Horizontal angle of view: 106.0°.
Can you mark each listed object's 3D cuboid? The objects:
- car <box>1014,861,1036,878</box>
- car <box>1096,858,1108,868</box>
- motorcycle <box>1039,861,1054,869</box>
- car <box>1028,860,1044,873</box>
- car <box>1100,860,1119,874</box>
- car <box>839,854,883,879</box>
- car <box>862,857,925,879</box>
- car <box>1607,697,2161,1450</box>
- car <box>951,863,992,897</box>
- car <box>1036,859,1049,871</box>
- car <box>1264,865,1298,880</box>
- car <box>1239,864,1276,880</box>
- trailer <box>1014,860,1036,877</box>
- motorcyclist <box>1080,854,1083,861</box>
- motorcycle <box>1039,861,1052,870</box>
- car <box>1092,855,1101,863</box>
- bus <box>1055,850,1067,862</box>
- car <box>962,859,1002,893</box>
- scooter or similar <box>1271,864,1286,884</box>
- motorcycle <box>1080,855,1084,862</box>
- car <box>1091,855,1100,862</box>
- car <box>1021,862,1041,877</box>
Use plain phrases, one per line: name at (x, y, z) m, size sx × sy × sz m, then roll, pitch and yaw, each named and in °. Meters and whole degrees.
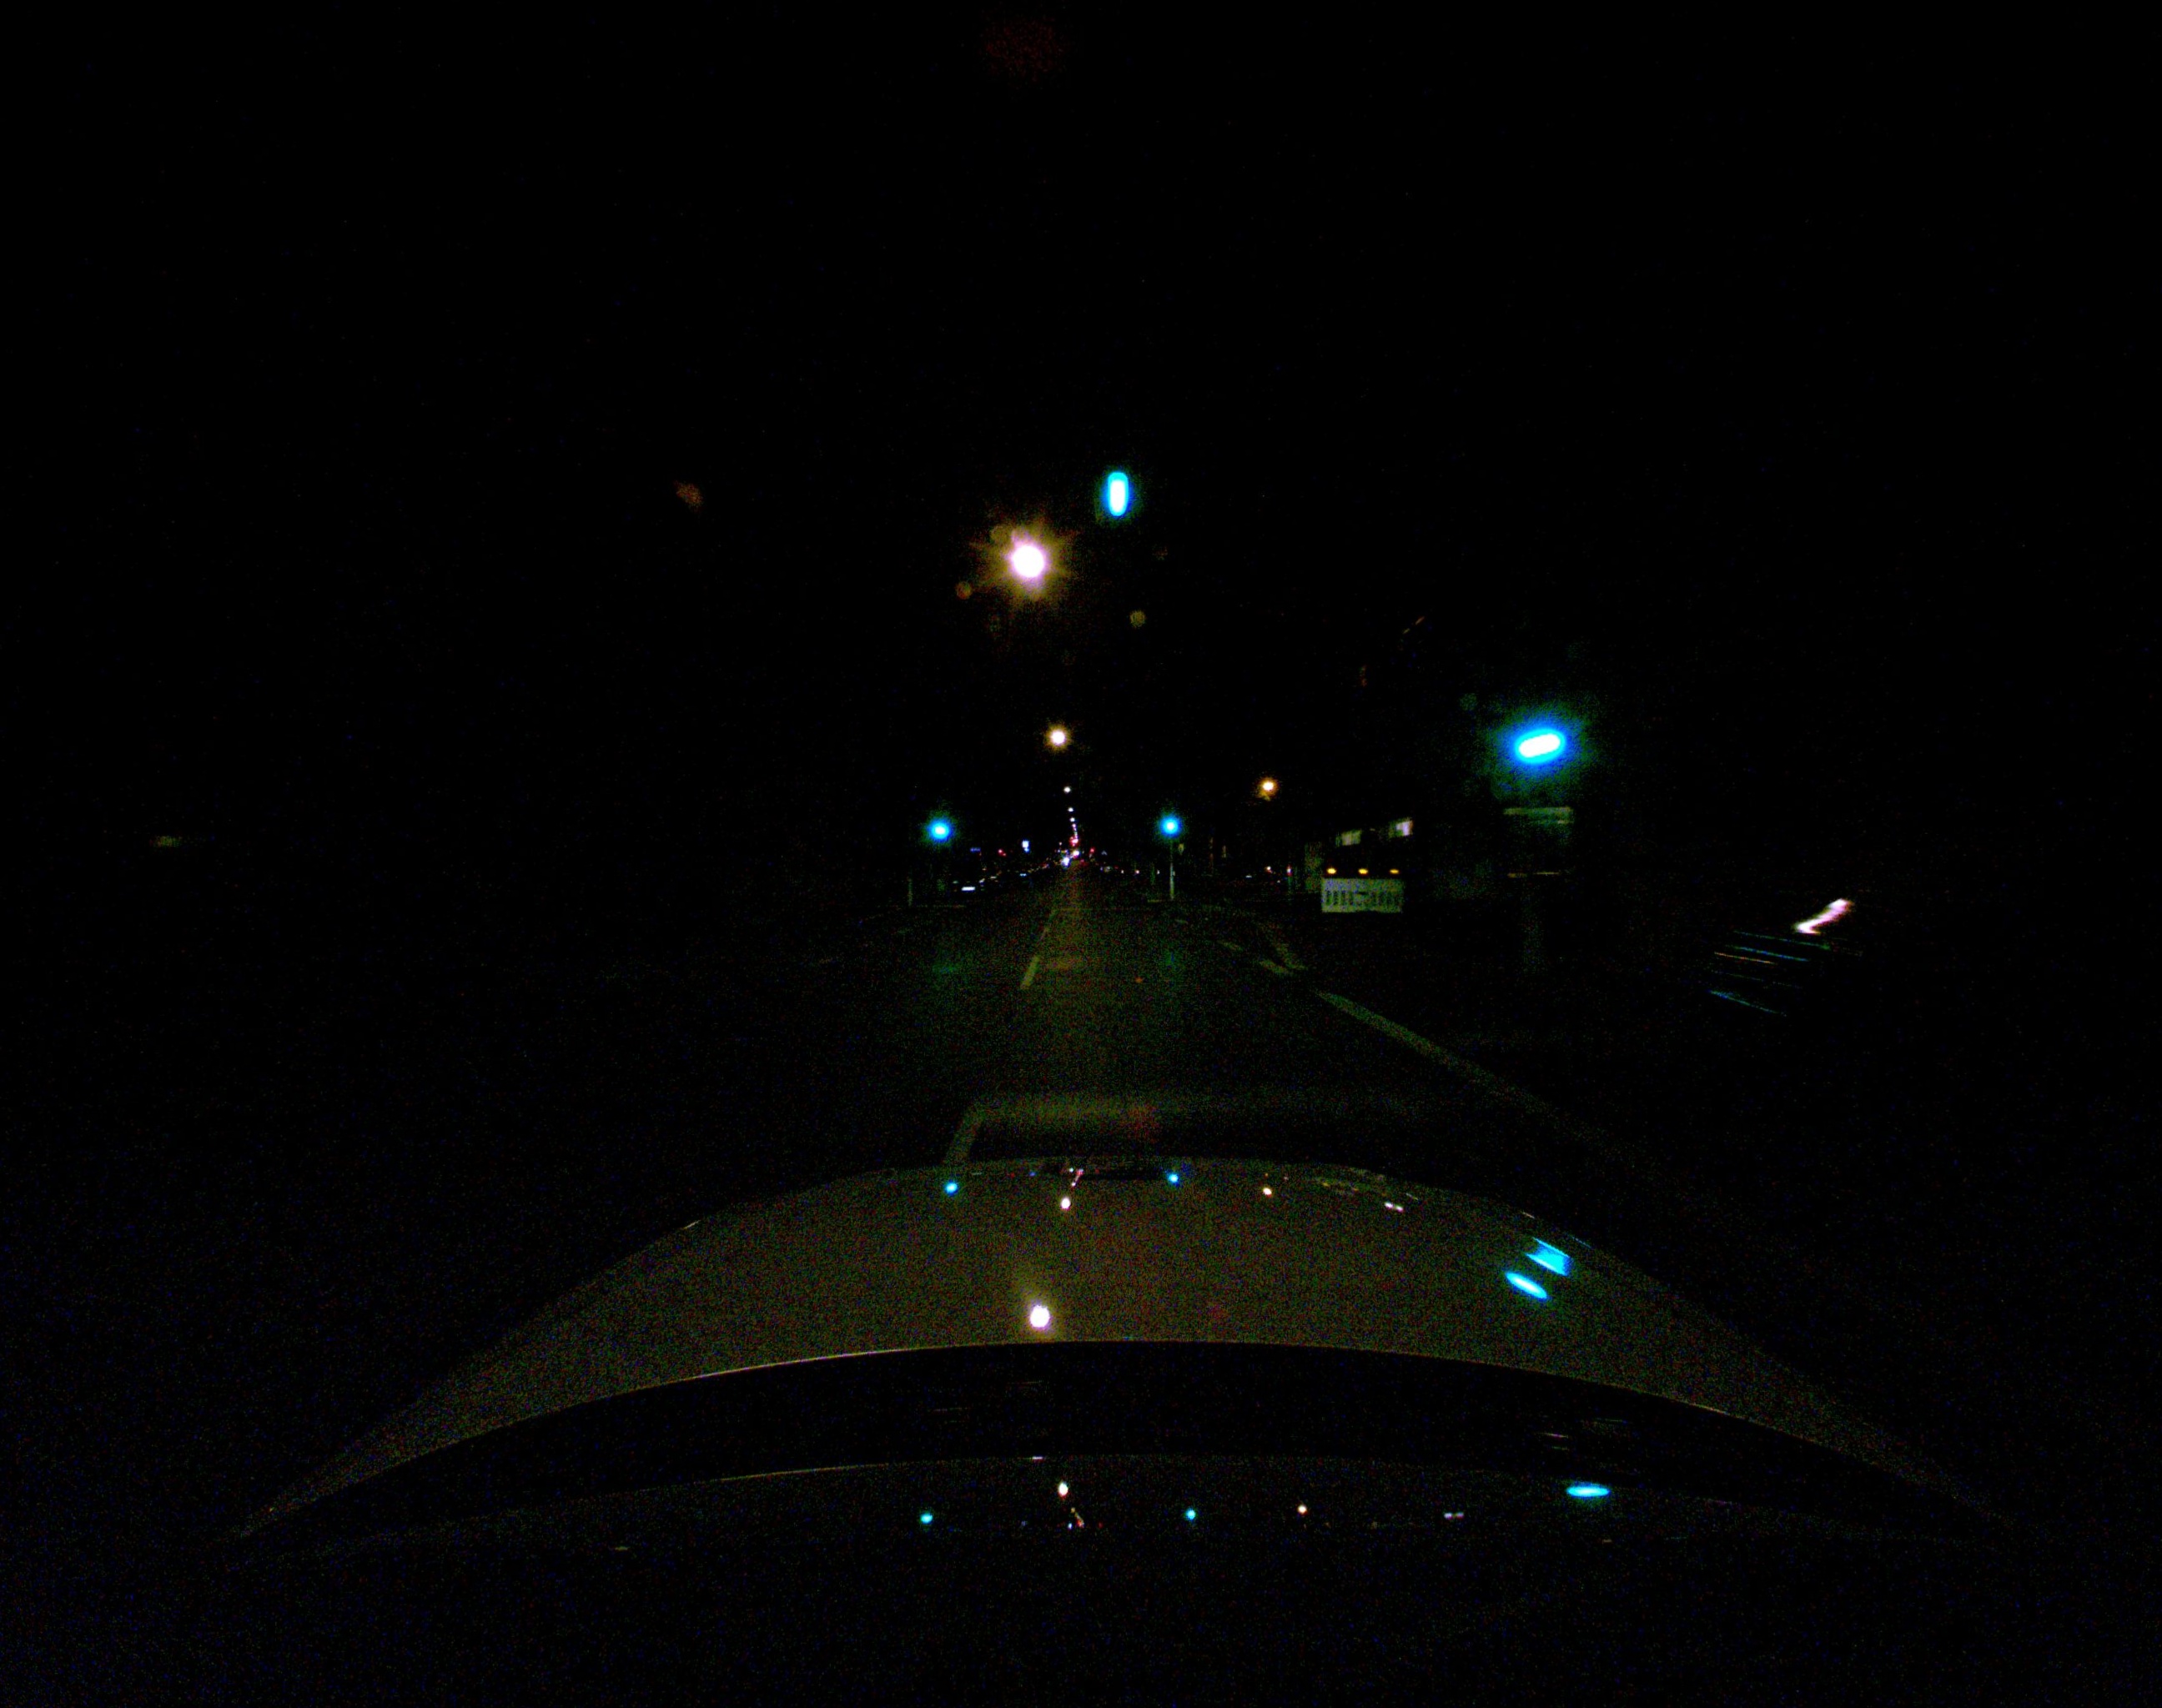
car at (-5.150, 1.426, 75.274) m, size 1.809 × 1.484 × 4.344 m, roll 0°, pitch 0°, yaw -2°
car at (3.207, 1.357, 127.449) m, size 1.757 × 1.476 × 4.080 m, roll -2°, pitch 0°, yaw 0°
motorcycle at (-5.019, 1.610, 118.353) m, size 2.180 × 1.131 × 0.720 m, roll -1°, pitch 0°, yaw 32°
car at (-5.503, 1.522, 99.659) m, size 1.858 × 1.492 × 4.278 m, roll 0°, pitch -1°, yaw -1°
car at (3.078, 1.388, 88.906) m, size 1.840 × 1.417 × 4.643 m, roll -4°, pitch -1°, yaw -1°
car at (-14.556, 0.812, 54.162) m, size 1.751 × 1.538 × 4.185 m, roll 2°, pitch -1°, yaw -1°
car at (-13.561, 1.035, 58.991) m, size 3.963 × 1.425 × 1.766 m, roll 2°, pitch -1°, yaw 9°
car at (3.586, 0.517, 1.502) m, size 1.906 × 1.827 × 4.895 m, roll -1°, pitch 0°, yaw -3°
car at (-5.041, 1.163, 37.854) m, size 1.644 × 1.514 × 3.697 m, roll 0°, pitch -1°, yaw -4°
car at (-5.295, 1.528, 112.090) m, size 1.699 × 1.491 × 4.226 m, roll -2°, pitch 0°, yaw -1°
car at (19.370, 1.769, 78.850) m, size 1.779 × 1.417 × 3.862 m, roll -1°, pitch -1°, yaw 37°
car at (16.082, 1.621, 74.030) m, size 1.779 × 1.417 × 3.862 m, roll -1°, pitch -1°, yaw 37°
trailer at (-5.500, 1.464, 80.084) m, size 1.630 × 1.640 × 3.443 m, roll 0°, pitch -1°, yaw 4°
motorcyclist at (0.158, 0.858, 190.925) m, size 0.846 × 1.752 × 0.805 m, roll 0°, pitch -1°, yaw 0°
motorcycle at (-5.068, 1.644, 116.334) m, size 0.720 × 1.147 × 2.182 m, roll -1°, pitch 0°, yaw -43°
car at (3.340, 1.095, 176.249) m, size 1.806 × 1.594 × 4.273 m, roll -2°, pitch 0°, yaw 0°
bus at (-5.070, 0.524, 210.472) m, size 2.828 × 3.177 × 10.496 m, roll 0°, pitch 0°, yaw 0°
car at (-5.243, 1.130, 43.564) m, size 1.844 × 1.650 × 4.665 m, roll 0°, pitch 0°, yaw -4°
scooter or similar at (11.729, 1.169, 48.429) m, size 0.494 × 1.146 × 1.676 m, roll -4°, pitch -2°, yaw 24°
motorcycle at (0.160, 1.084, 190.919) m, size 0.928 × 1.752 × 2.624 m, roll 0°, pitch -1°, yaw 0°
car at (3.314, 1.110, 189.618) m, size 1.863 × 1.526 × 4.149 m, roll -2°, pitch 0°, yaw 0°
car at (-5.253, 1.575, 86.046) m, size 1.830 × 1.447 × 4.542 m, roll -1°, pitch 0°, yaw -1°
